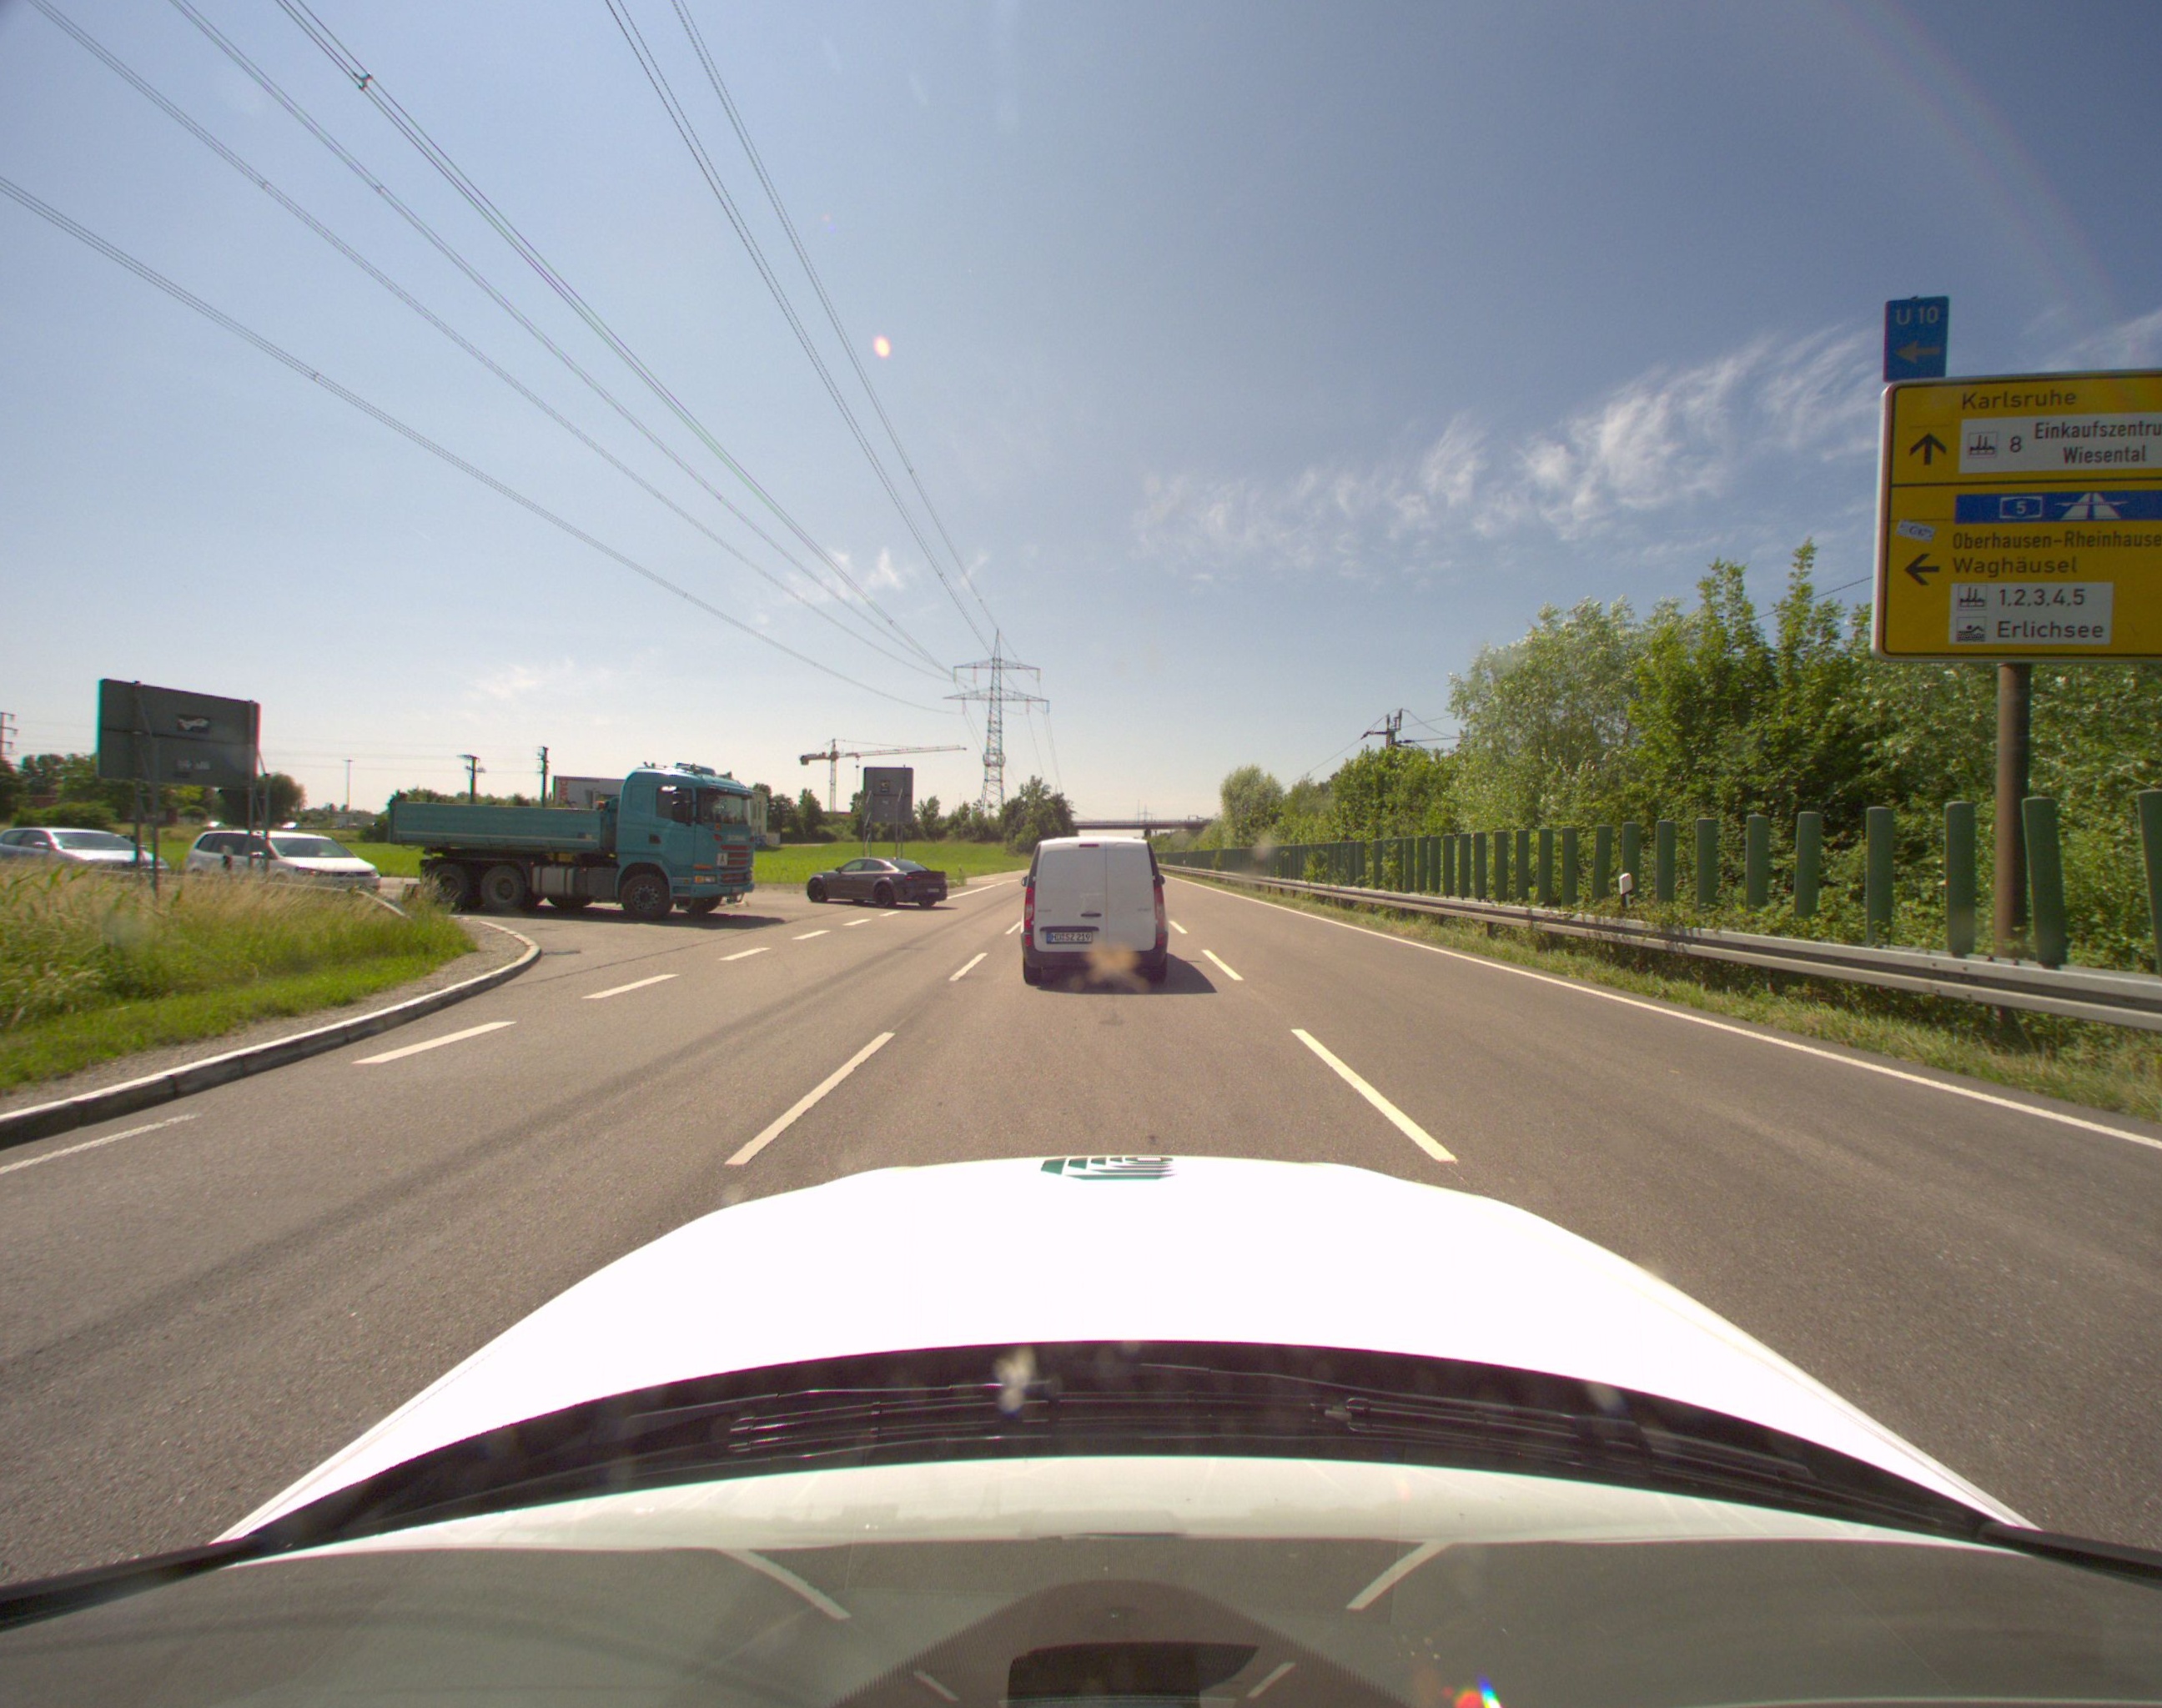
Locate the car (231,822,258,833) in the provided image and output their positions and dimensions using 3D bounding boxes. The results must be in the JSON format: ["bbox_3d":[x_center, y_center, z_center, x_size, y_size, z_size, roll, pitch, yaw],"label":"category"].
[{"bbox_3d":[-136.586,-4.356,133.030,2.006,1.679,3.962,0,0,-30],"label":"car"}]

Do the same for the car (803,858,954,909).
[{"bbox_3d":[-6.287,0.849,25.051,4.593,1.397,1.874,0,-1,33],"label":"car"}]

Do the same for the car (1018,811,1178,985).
[{"bbox_3d":[0.135,0.508,11.318,1.822,1.971,3.997,-1,0,-2],"label":"car"}]

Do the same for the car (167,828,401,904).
[{"bbox_3d":[-19.130,0.248,19.595,4.507,1.612,1.976,1,0,15],"label":"car"}]

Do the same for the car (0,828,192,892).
[{"bbox_3d":[-25.232,0.130,20.556,4.402,1.470,1.724,1,0,12],"label":"car"}]

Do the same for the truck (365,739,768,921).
[{"bbox_3d":[-11.868,-0.557,19.196,7.870,3.734,2.500,2,0,3],"label":"truck"}]

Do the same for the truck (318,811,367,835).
[{"bbox_3d":[-156.369,-6.529,172.568,3.695,4.646,13.134,1,0,-24],"label":"truck"}]
